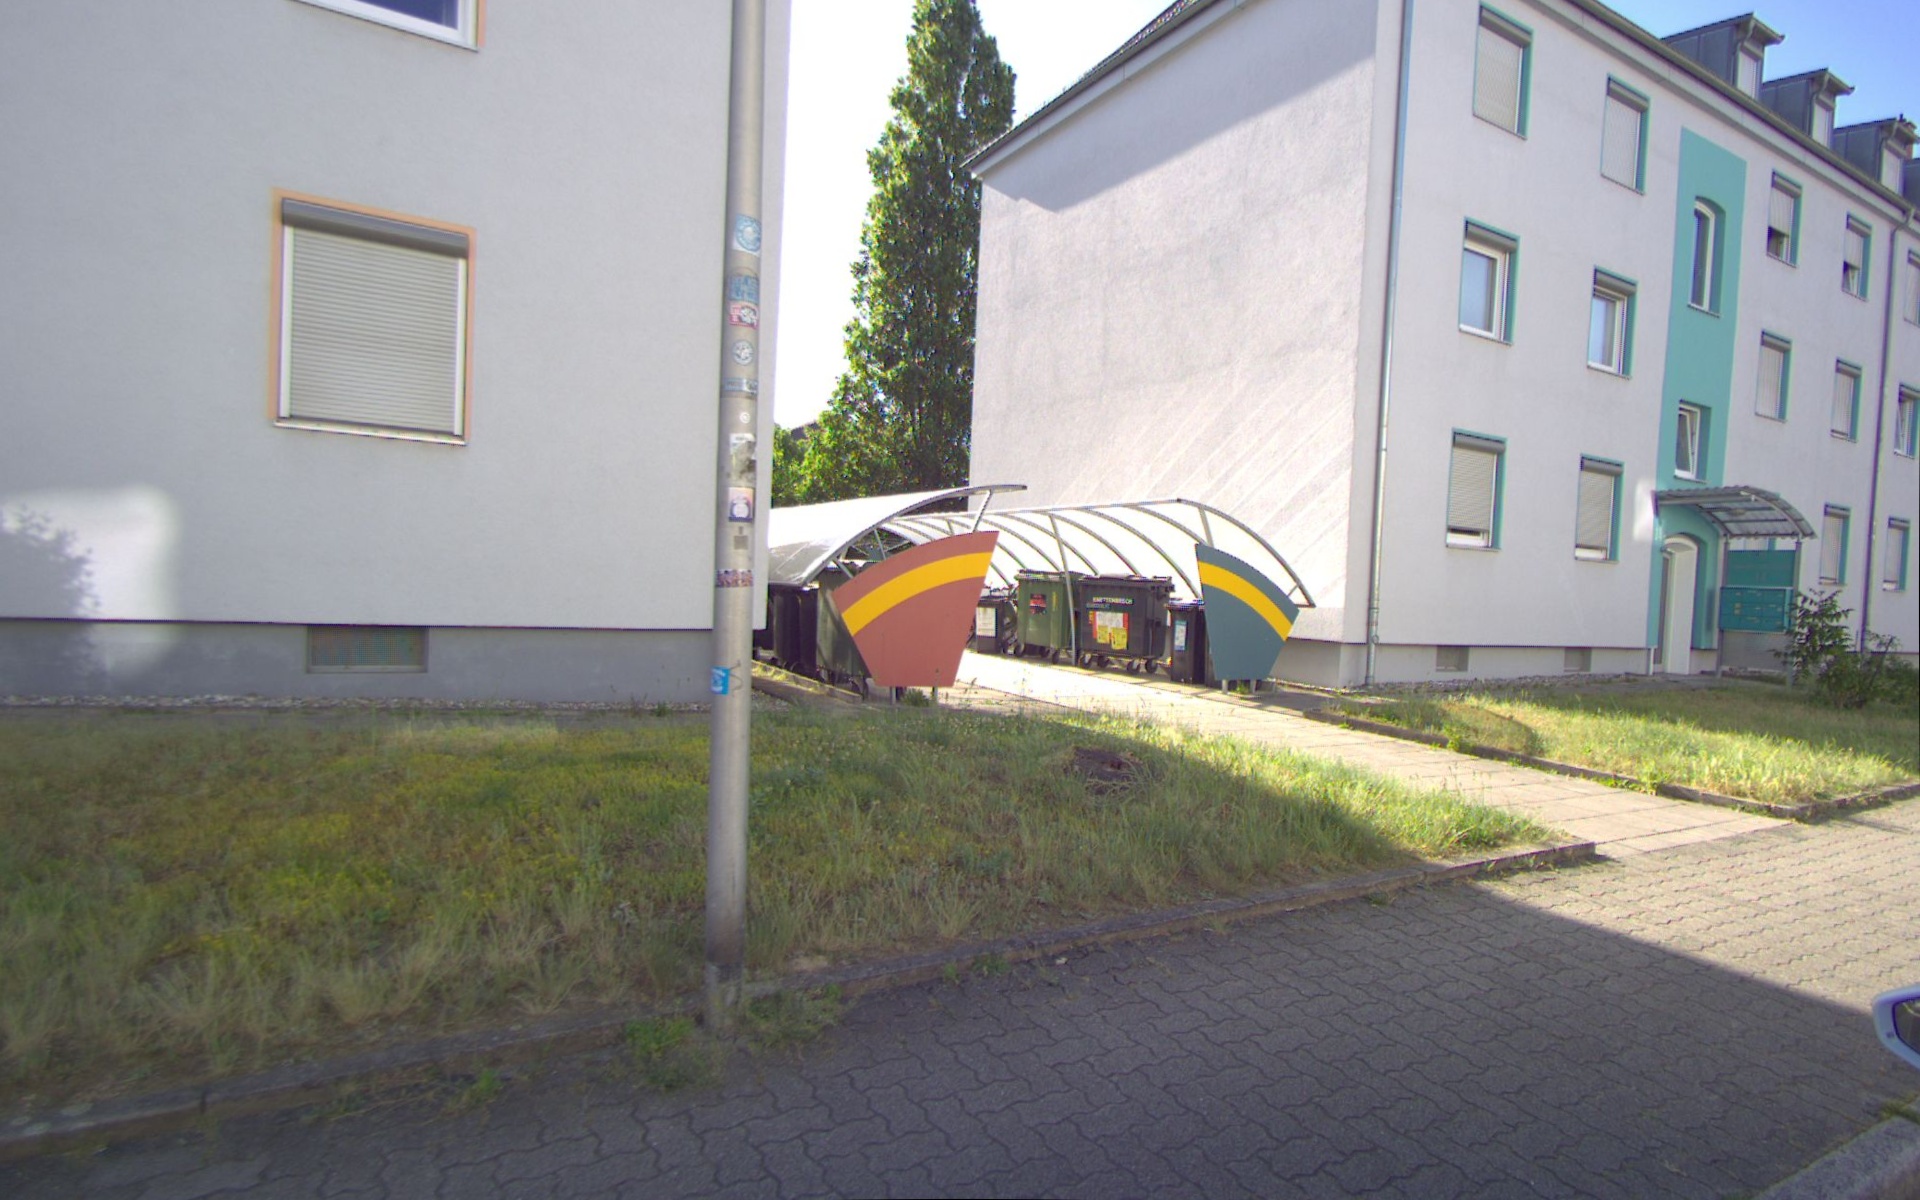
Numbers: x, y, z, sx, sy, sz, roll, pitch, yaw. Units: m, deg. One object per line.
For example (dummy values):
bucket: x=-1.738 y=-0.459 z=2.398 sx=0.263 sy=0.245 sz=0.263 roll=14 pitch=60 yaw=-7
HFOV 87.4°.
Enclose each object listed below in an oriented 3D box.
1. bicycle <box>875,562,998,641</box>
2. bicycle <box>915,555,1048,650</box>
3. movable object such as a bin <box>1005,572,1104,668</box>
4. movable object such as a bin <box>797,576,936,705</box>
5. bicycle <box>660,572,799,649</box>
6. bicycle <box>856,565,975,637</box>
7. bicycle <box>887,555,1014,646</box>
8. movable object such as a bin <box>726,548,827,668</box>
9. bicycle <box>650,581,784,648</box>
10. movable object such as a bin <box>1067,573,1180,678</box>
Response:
bicycle: x=-0.420 y=0.039 z=18.617 sx=2.172 sy=1.375 sz=0.699 roll=2 pitch=3 yaw=-30
bicycle: x=0.383 y=0.047 z=17.127 sx=2.172 sy=1.530 sz=0.699 roll=1 pitch=3 yaw=-30
movable object such as a bin: x=1.416 y=0.280 z=15.158 sx=0.797 sy=1.366 sz=1.243 roll=1 pitch=2 yaw=-40
movable object such as a bin: x=-0.970 y=0.375 z=10.178 sx=0.900 sy=1.184 sz=1.306 roll=1 pitch=2 yaw=-31
bicycle: x=-3.390 y=0.165 z=14.837 sx=1.918 sy=1.081 sz=0.505 roll=2 pitch=3 yaw=-30
bicycle: x=-0.839 y=0.032 z=19.234 sx=2.172 sy=1.290 sz=0.699 roll=2 pitch=3 yaw=-30
bicycle: x=-0.157 y=0.014 z=17.926 sx=2.172 sy=1.545 sz=0.660 roll=1 pitch=2 yaw=-30
movable object such as a bin: x=-2.383 y=0.089 z=12.992 sx=0.936 sy=1.461 sz=1.054 roll=1 pitch=2 yaw=-31
bicycle: x=-3.714 y=0.232 z=15.408 sx=1.907 sy=0.961 sz=0.547 roll=2 pitch=3 yaw=-30
movable object such as a bin: x=2.295 y=0.337 z=14.148 sx=0.899 sy=1.374 sz=1.238 roll=1 pitch=1 yaw=-41
